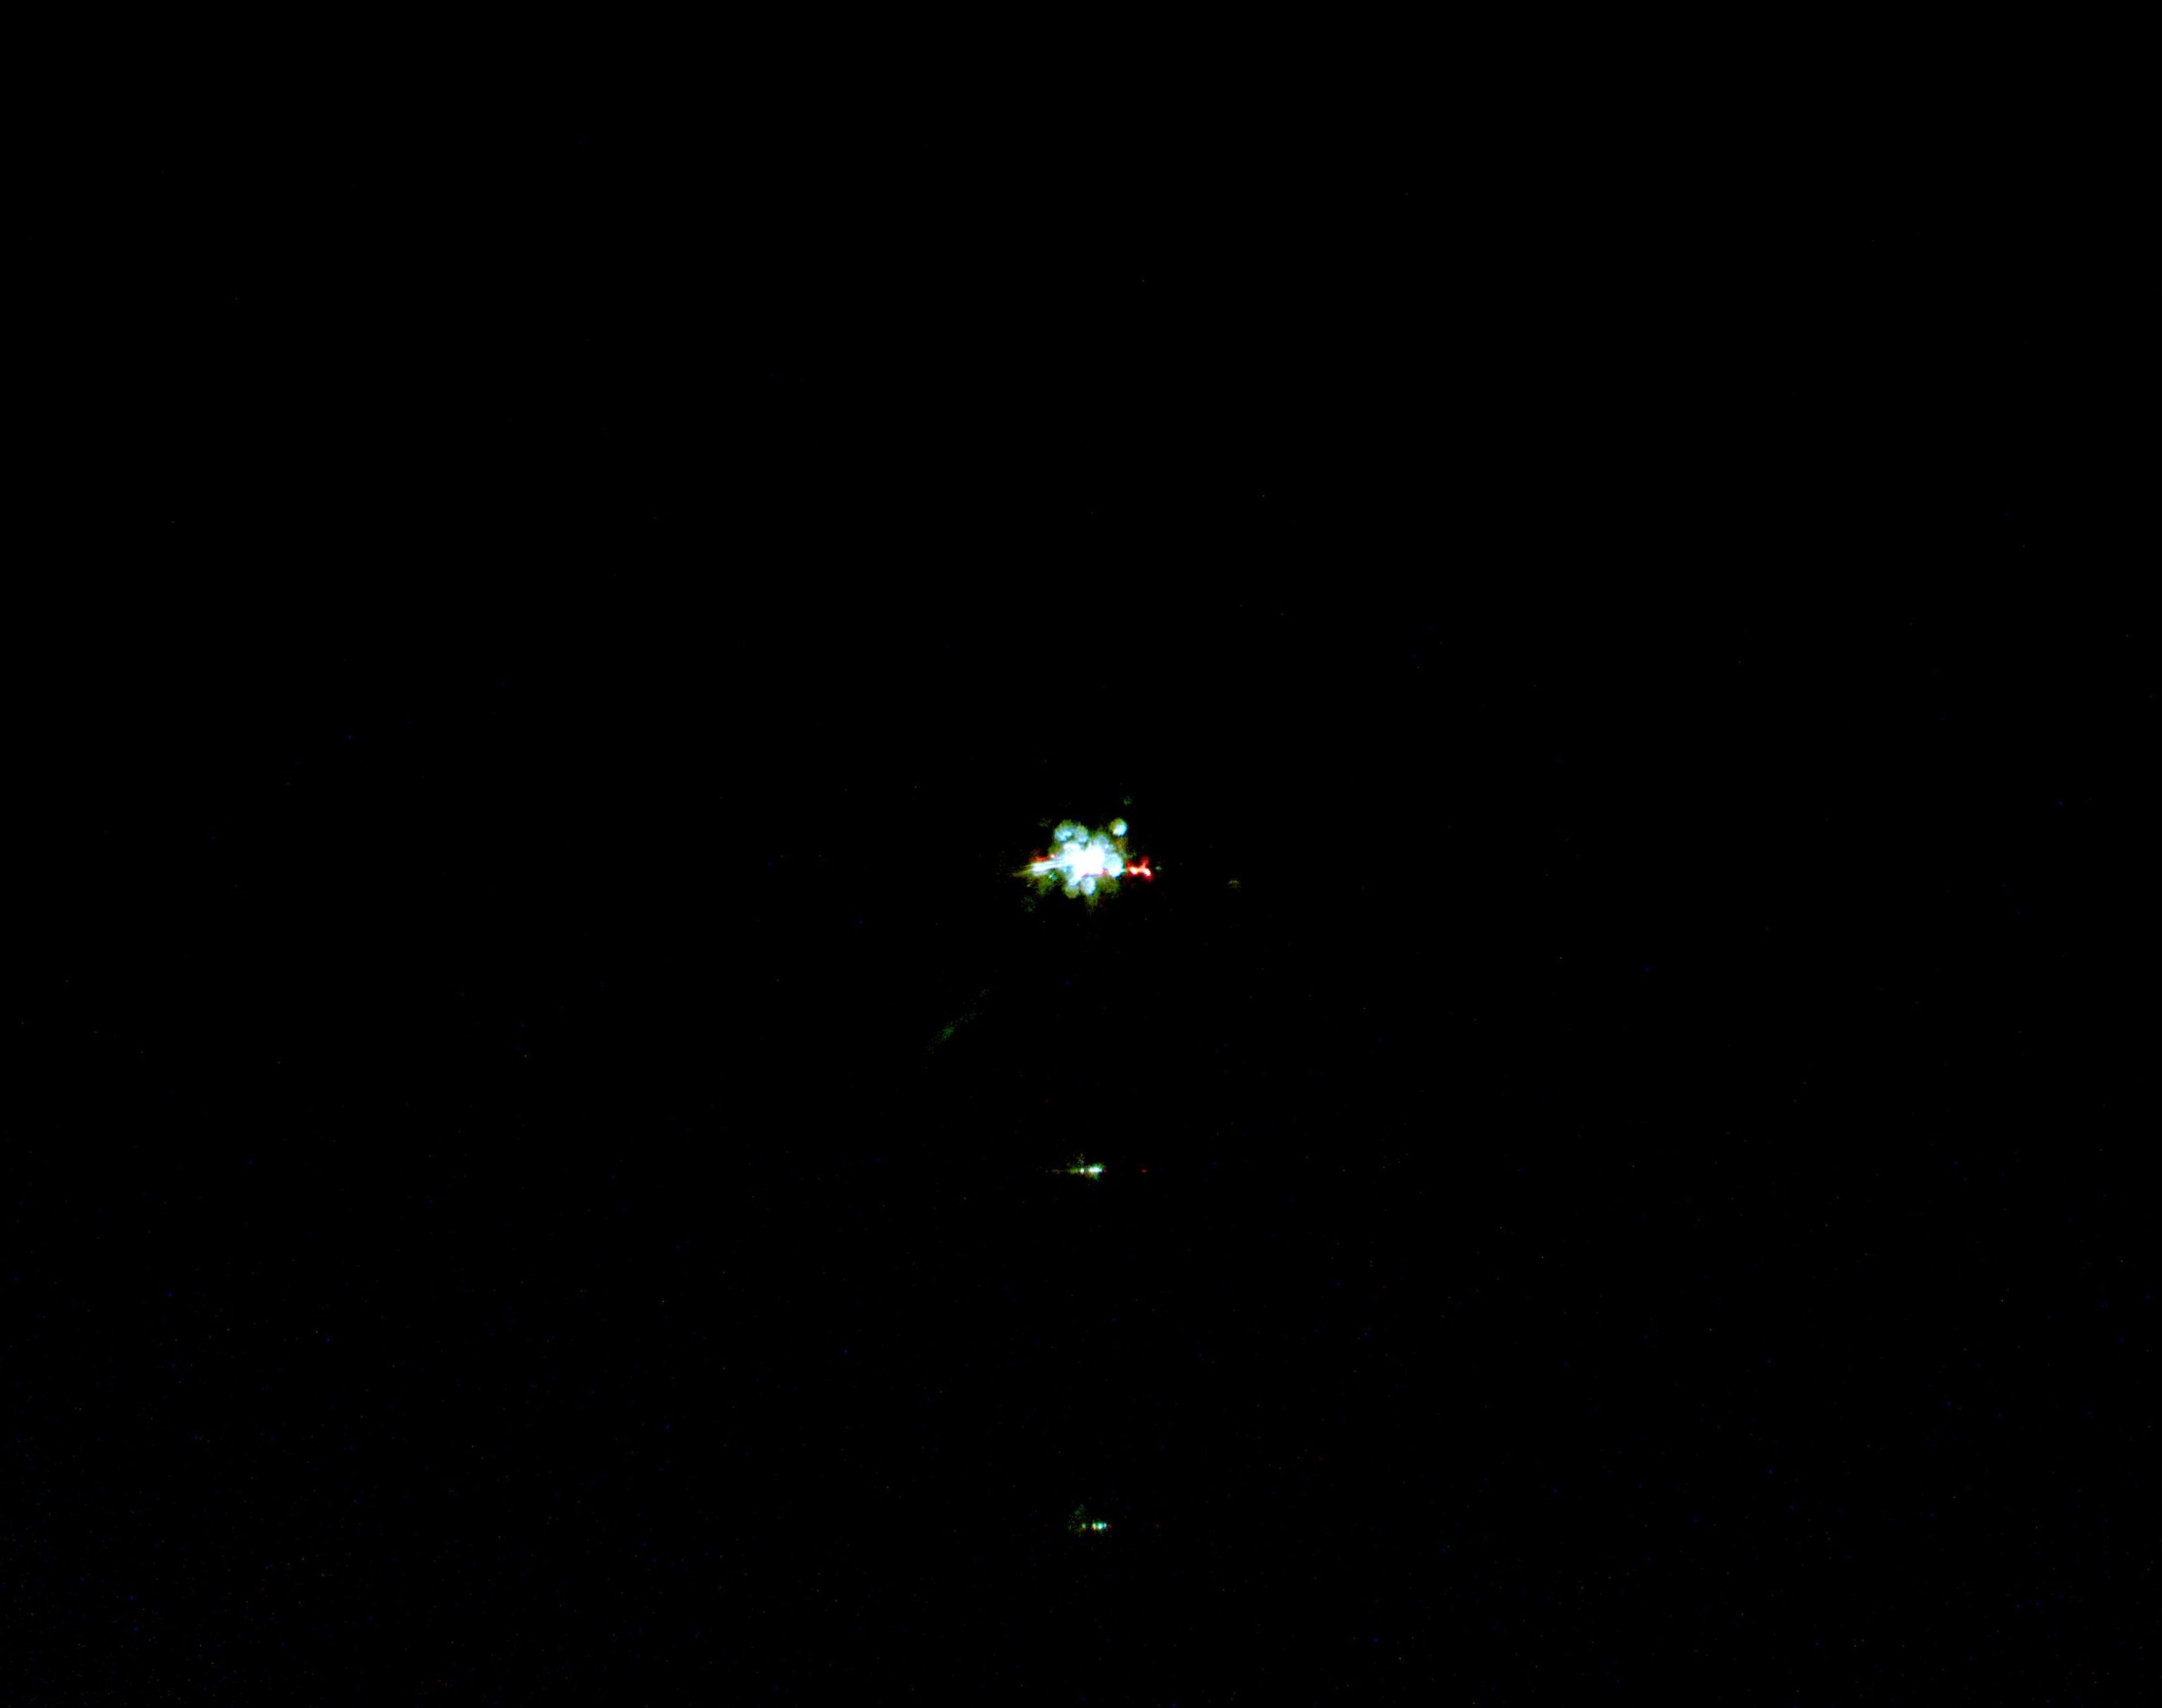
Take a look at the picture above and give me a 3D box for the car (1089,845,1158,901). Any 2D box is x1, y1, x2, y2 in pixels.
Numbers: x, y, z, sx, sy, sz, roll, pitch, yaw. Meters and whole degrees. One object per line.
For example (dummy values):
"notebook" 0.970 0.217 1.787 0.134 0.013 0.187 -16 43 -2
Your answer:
"car" 1.717 0.780 33.108 2.448 1.958 4.914 -4 -2 2

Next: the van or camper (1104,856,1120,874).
"van or camper" 4.692 1.692 124.628 2.117 2.565 5.782 -4 0 0
